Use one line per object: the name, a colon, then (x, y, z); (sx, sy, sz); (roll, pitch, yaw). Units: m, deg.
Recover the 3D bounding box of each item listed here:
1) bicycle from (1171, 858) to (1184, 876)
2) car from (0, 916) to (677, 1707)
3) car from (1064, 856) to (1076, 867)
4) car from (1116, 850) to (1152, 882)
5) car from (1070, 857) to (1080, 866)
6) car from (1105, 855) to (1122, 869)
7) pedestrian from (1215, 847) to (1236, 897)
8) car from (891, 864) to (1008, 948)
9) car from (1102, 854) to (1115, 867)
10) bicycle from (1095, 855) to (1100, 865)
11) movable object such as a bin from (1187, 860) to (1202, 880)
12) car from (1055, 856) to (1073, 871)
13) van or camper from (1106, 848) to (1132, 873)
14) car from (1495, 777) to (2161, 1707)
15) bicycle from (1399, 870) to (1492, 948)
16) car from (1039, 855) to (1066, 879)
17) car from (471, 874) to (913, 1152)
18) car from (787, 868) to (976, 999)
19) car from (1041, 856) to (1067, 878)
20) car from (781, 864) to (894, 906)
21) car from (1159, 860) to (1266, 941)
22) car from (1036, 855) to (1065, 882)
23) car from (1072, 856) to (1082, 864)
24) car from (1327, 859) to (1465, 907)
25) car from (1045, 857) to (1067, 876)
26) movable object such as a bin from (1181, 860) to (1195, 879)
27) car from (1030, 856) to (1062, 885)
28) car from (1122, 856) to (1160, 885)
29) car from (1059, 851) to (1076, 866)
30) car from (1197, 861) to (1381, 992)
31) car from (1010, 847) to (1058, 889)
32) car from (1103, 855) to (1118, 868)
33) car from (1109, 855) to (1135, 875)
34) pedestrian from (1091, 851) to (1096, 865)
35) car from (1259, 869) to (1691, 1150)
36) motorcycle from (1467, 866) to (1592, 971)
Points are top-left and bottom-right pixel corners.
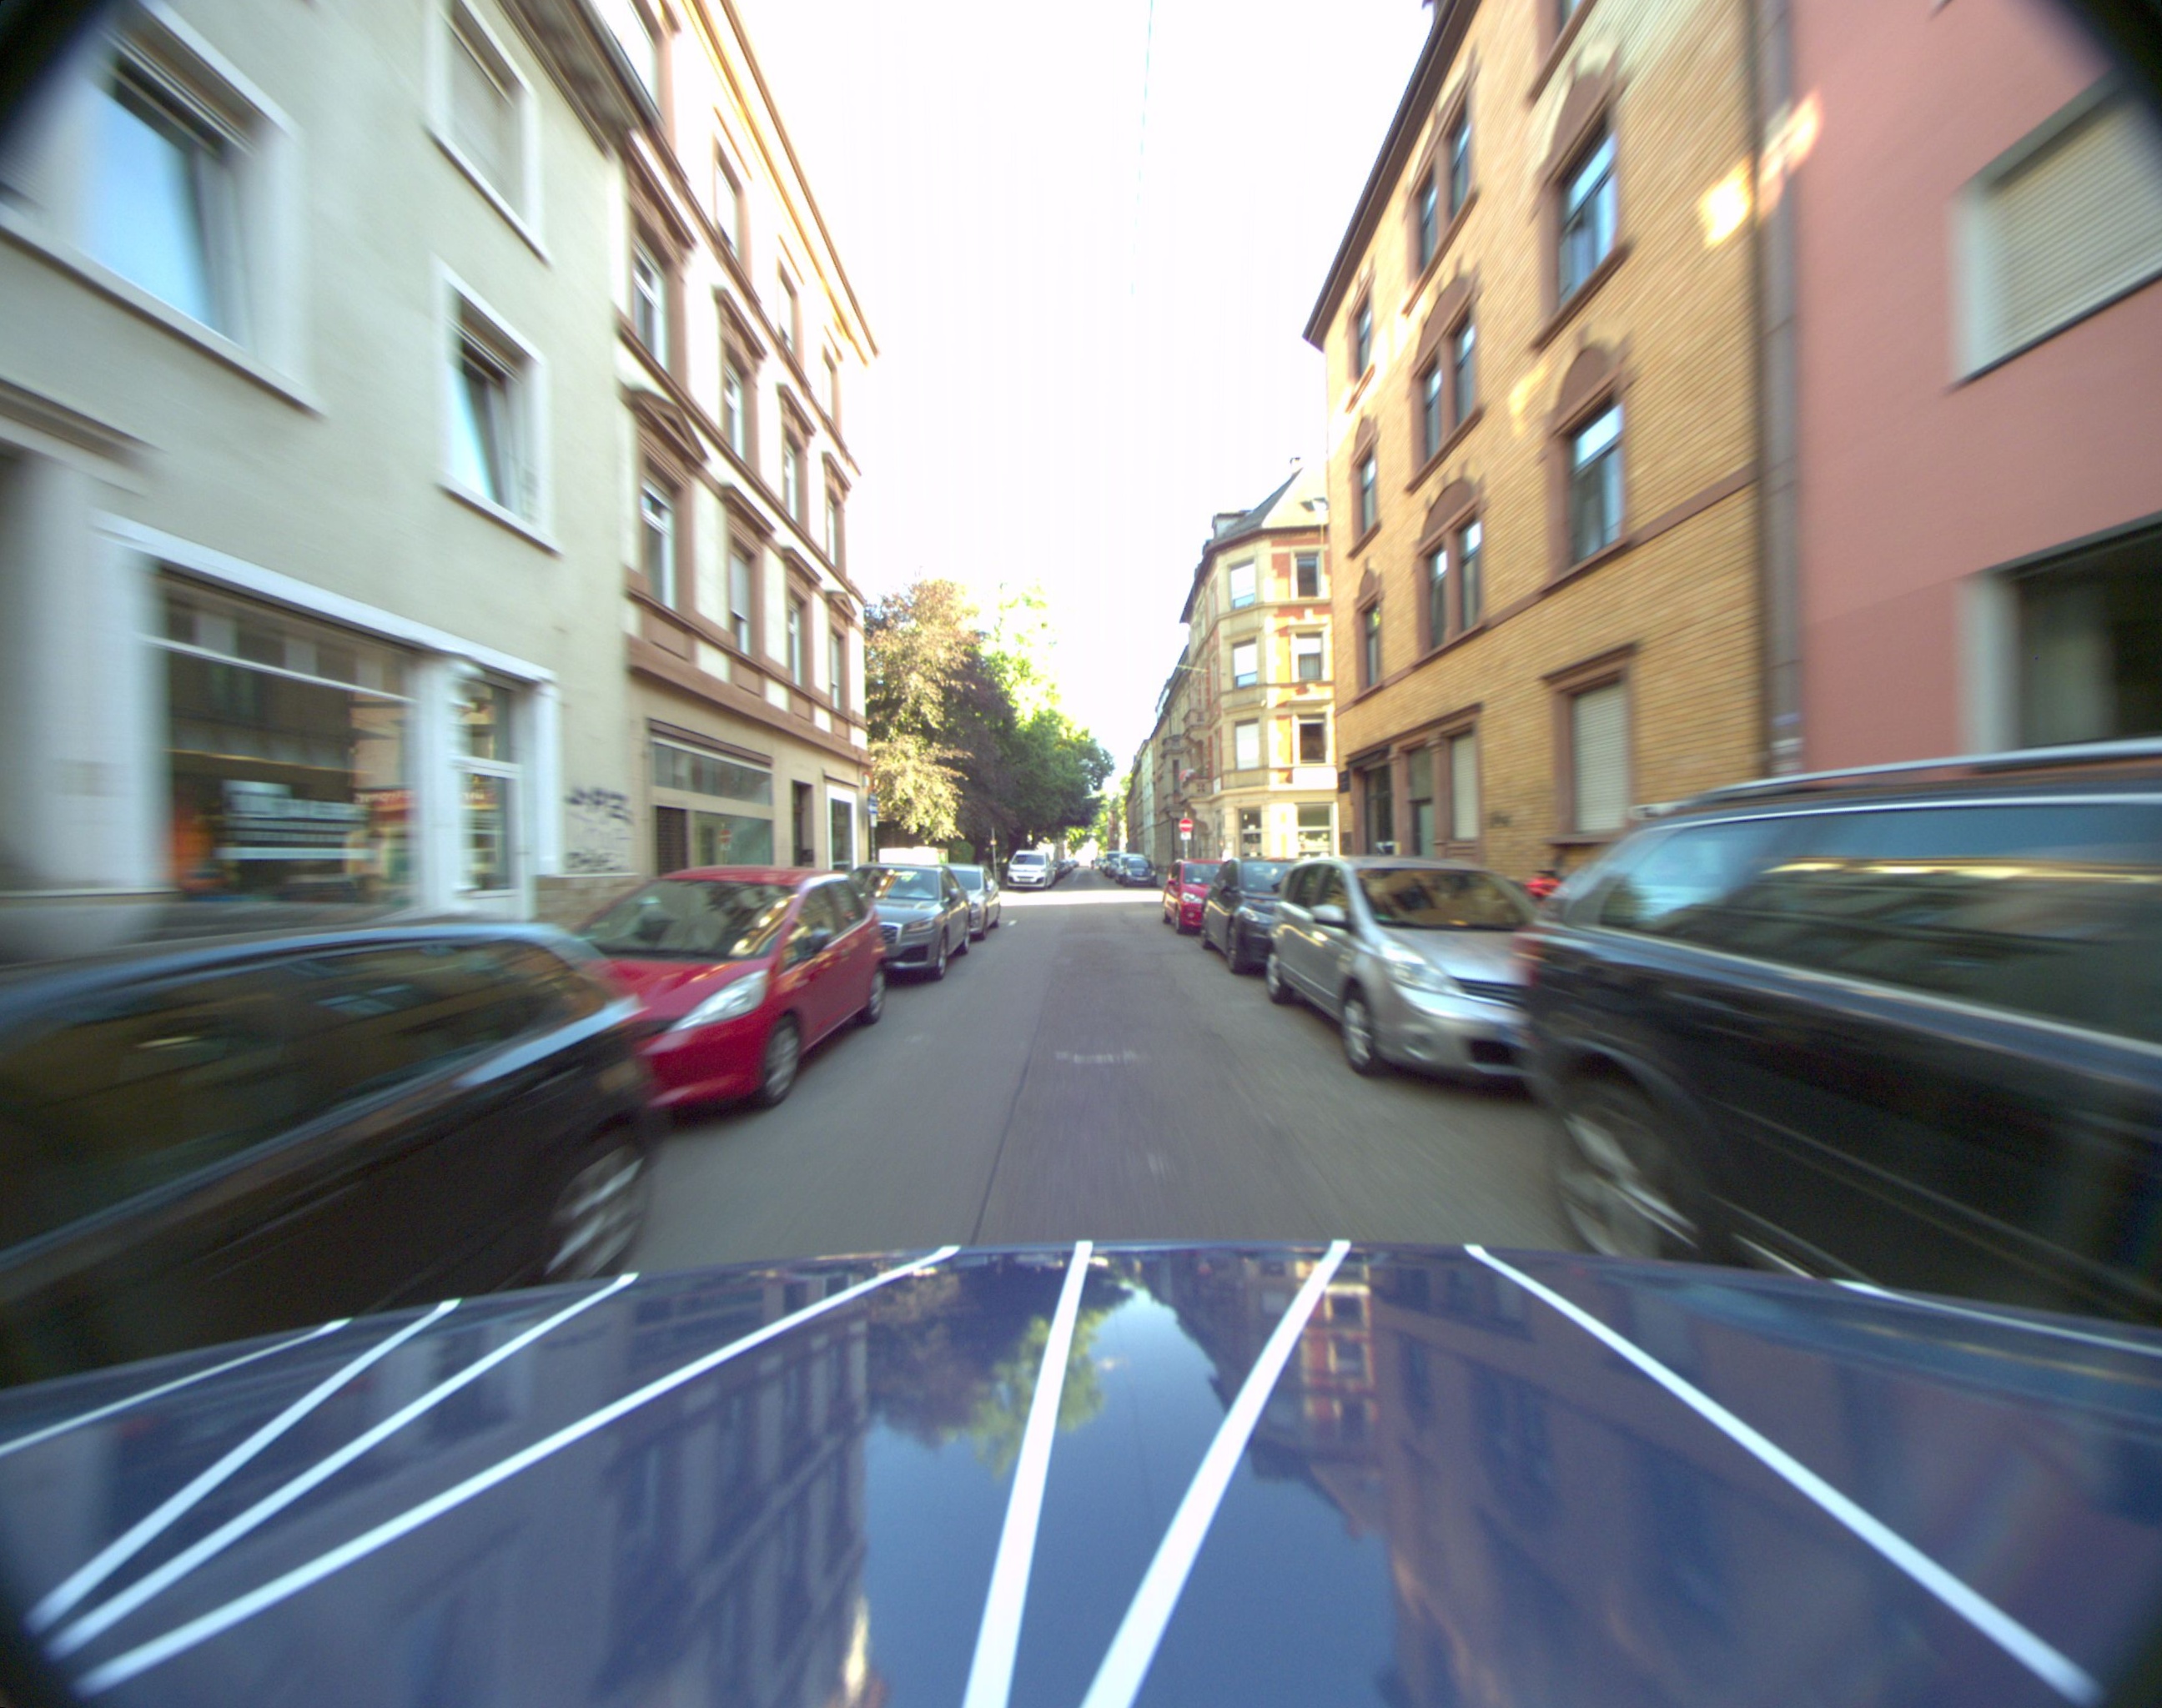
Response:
bicycle: (6.131, 0.819, 48.401); (0.572, 1.035, 1.546); (-4, 0, 1)
car: (-2.599, 1.017, 1.330); (1.680, 1.498, 3.937); (0, 0, 0)
car: (-1.537, 1.067, 104.948); (1.625, 1.428, 4.002); (0, 1, -1)
car: (3.110, 0.679, 45.444); (1.835, 1.801, 4.572); (0, 0, 1)
car: (-1.085, 1.302, 139.977); (1.845, 1.643, 4.000); (0, 0, 1)
car: (3.538, 0.869, 83.008); (1.735, 1.447, 4.521); (0, 0, 1)
pedestrian: (4.913, 0.594, 25.841); (0.549, 1.635, 0.717); (-2, 3, 1)
car: (-2.648, 0.991, 16.257); (1.748, 1.498, 4.357); (0, 0, 0)
car: (3.801, 0.873, 104.373); (1.713, 1.664, 4.278); (0, 1, 2)
bicycle: (2.227, 0.815, 102.820); (0.572, 1.236, 1.844); (-5, 0, 0)
movable object such as a bin: (6.083, 0.862, 40.664); (0.639, 1.035, 0.856); (-4, 0, 1)
car: (-1.761, 0.976, 79.591); (1.603, 1.462, 3.869); (1, 1, 1)
van or camper: (3.313, 0.549, 66.225); (2.182, 2.135, 5.155); (0, 0, 2)
car: (2.637, 0.778, 1.037); (1.747, 1.800, 4.673); (0, 0, 2)
bicycle: (5.863, 0.847, 12.331); (0.534, 1.068, 1.891); (-6, 0, 1)
car: (-2.042, 0.917, 55.278); (1.622, 1.615, 3.863); (3, 1, 1)
car: (-2.705, 0.974, 6.471); (1.602, 1.498, 4.184); (0, 0, 0)
car: (-2.659, 0.991, 11.074); (1.748, 1.498, 4.020); (0, 0, -1)
car: (-2.080, 0.991, 59.214); (1.622, 1.478, 3.776); (3, 1, 3)
car: (-9.856, 1.237, 30.924); (3.927, 1.431, 1.798); (-2, 2, 5)
car: (2.650, 0.887, 16.016); (1.632, 1.472, 3.601); (0, 0, 0)
car: (-2.023, 0.913, 49.965); (1.744, 1.594, 4.262); (3, 1, -3)
car: (-0.805, 1.416, 171.014); (1.998, 1.659, 4.001); (-2, 0, 2)
car: (11.723, 1.064, 28.489); (4.436, 1.522, 1.867); (-1, 3, 6)
car: (-2.156, 1.032, 64.345); (1.680, 1.433, 4.693); (3, 1, -3)
movable object such as a bin: (6.037, 0.854, 42.909); (0.639, 1.035, 0.856); (-4, 0, 1)
car: (-2.037, 0.949, 44.469); (1.723, 1.562, 3.827); (-2, 0, -2)
car: (3.104, 0.827, 39.934); (1.697, 1.472, 3.973); (0, 0, 0)
car: (-1.552, 0.502, 87.429); (1.668, 1.577, 4.101); (3, 1, 3)
car: (2.772, 0.870, 11.029); (1.699, 1.512, 4.096); (0, 0, 2)
car: (-2.345, 0.678, 38.762); (1.919, 1.987, 4.792); (0, 0, 3)
car: (3.599, 0.916, 93.350); (1.713, 1.409, 3.803); (0, 1, 2)
car: (3.197, 0.875, 59.924); (1.771, 1.505, 4.193); (0, 0, 0)
pedestrian: (1.733, 0.569, 102.790); (0.489, 1.792, 1.115); (-4, 0, 0)
car: (2.698, 0.921, 6.300); (1.660, 1.512, 3.945); (0, 0, 2)
motorcycle: (5.810, 0.781, 9.974); (0.534, 1.199, 1.908); (-2, 0, 1)
